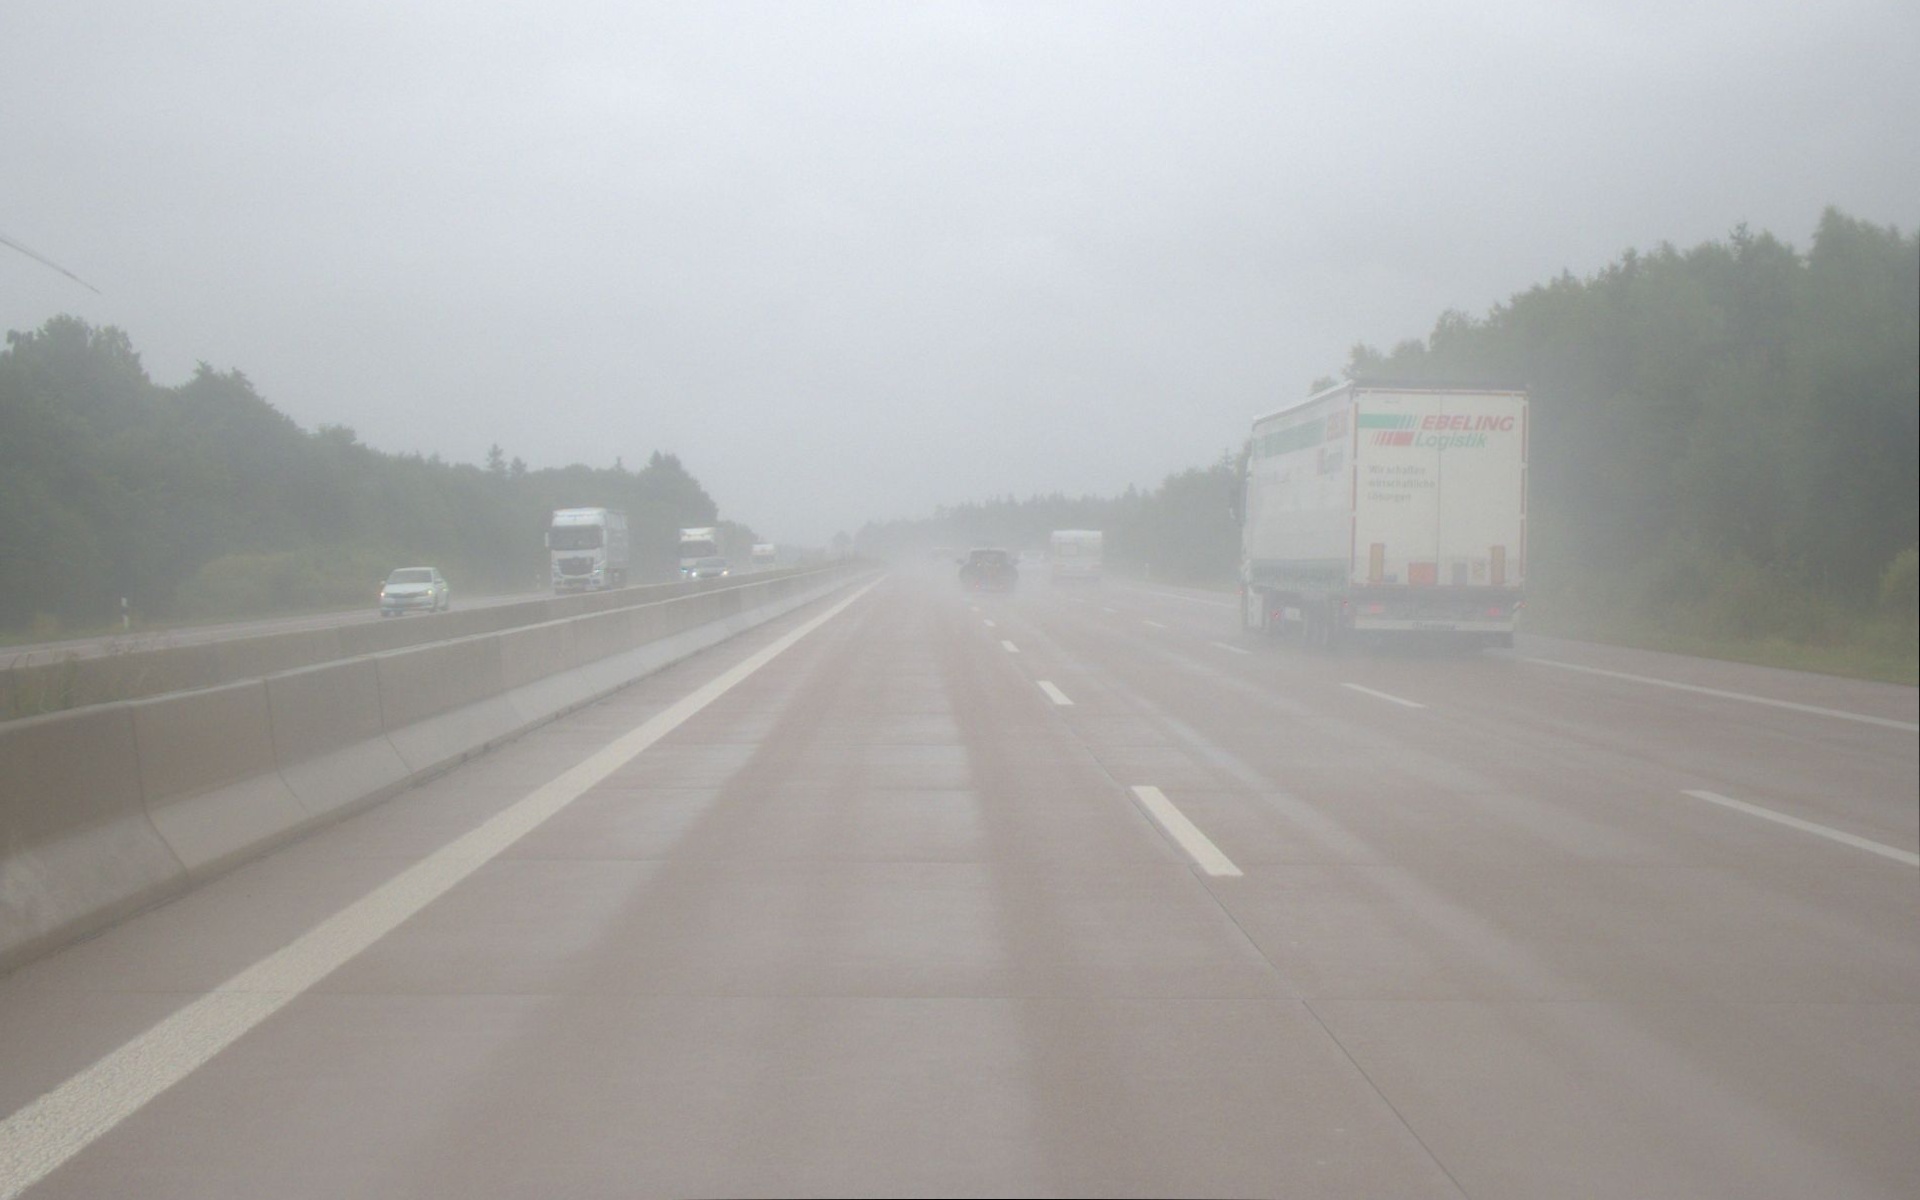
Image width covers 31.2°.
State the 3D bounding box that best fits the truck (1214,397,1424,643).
[{"bbox_3d":[6.304,-1.423,61.323,2.880,4.092,6.350,-1,1,-1],"label":"truck"}]

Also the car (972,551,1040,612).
[{"bbox_3d":[1.496,-0.627,113.316,2.173,1.974,4.130,0,1,0],"label":"car"}]

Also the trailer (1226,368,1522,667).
[{"bbox_3d":[6.431,-1.332,55.740,2.852,4.217,13.133,-1,1,-1],"label":"trailer"}]

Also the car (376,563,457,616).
[{"bbox_3d":[-16.639,-0.343,105.415,1.753,1.475,4.583,-3,1,-1],"label":"car"}]

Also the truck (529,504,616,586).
[{"bbox_3d":[-18.923,-2.669,168.150,3.472,3.875,7.464,1,0,-1],"label":"truck"}]
